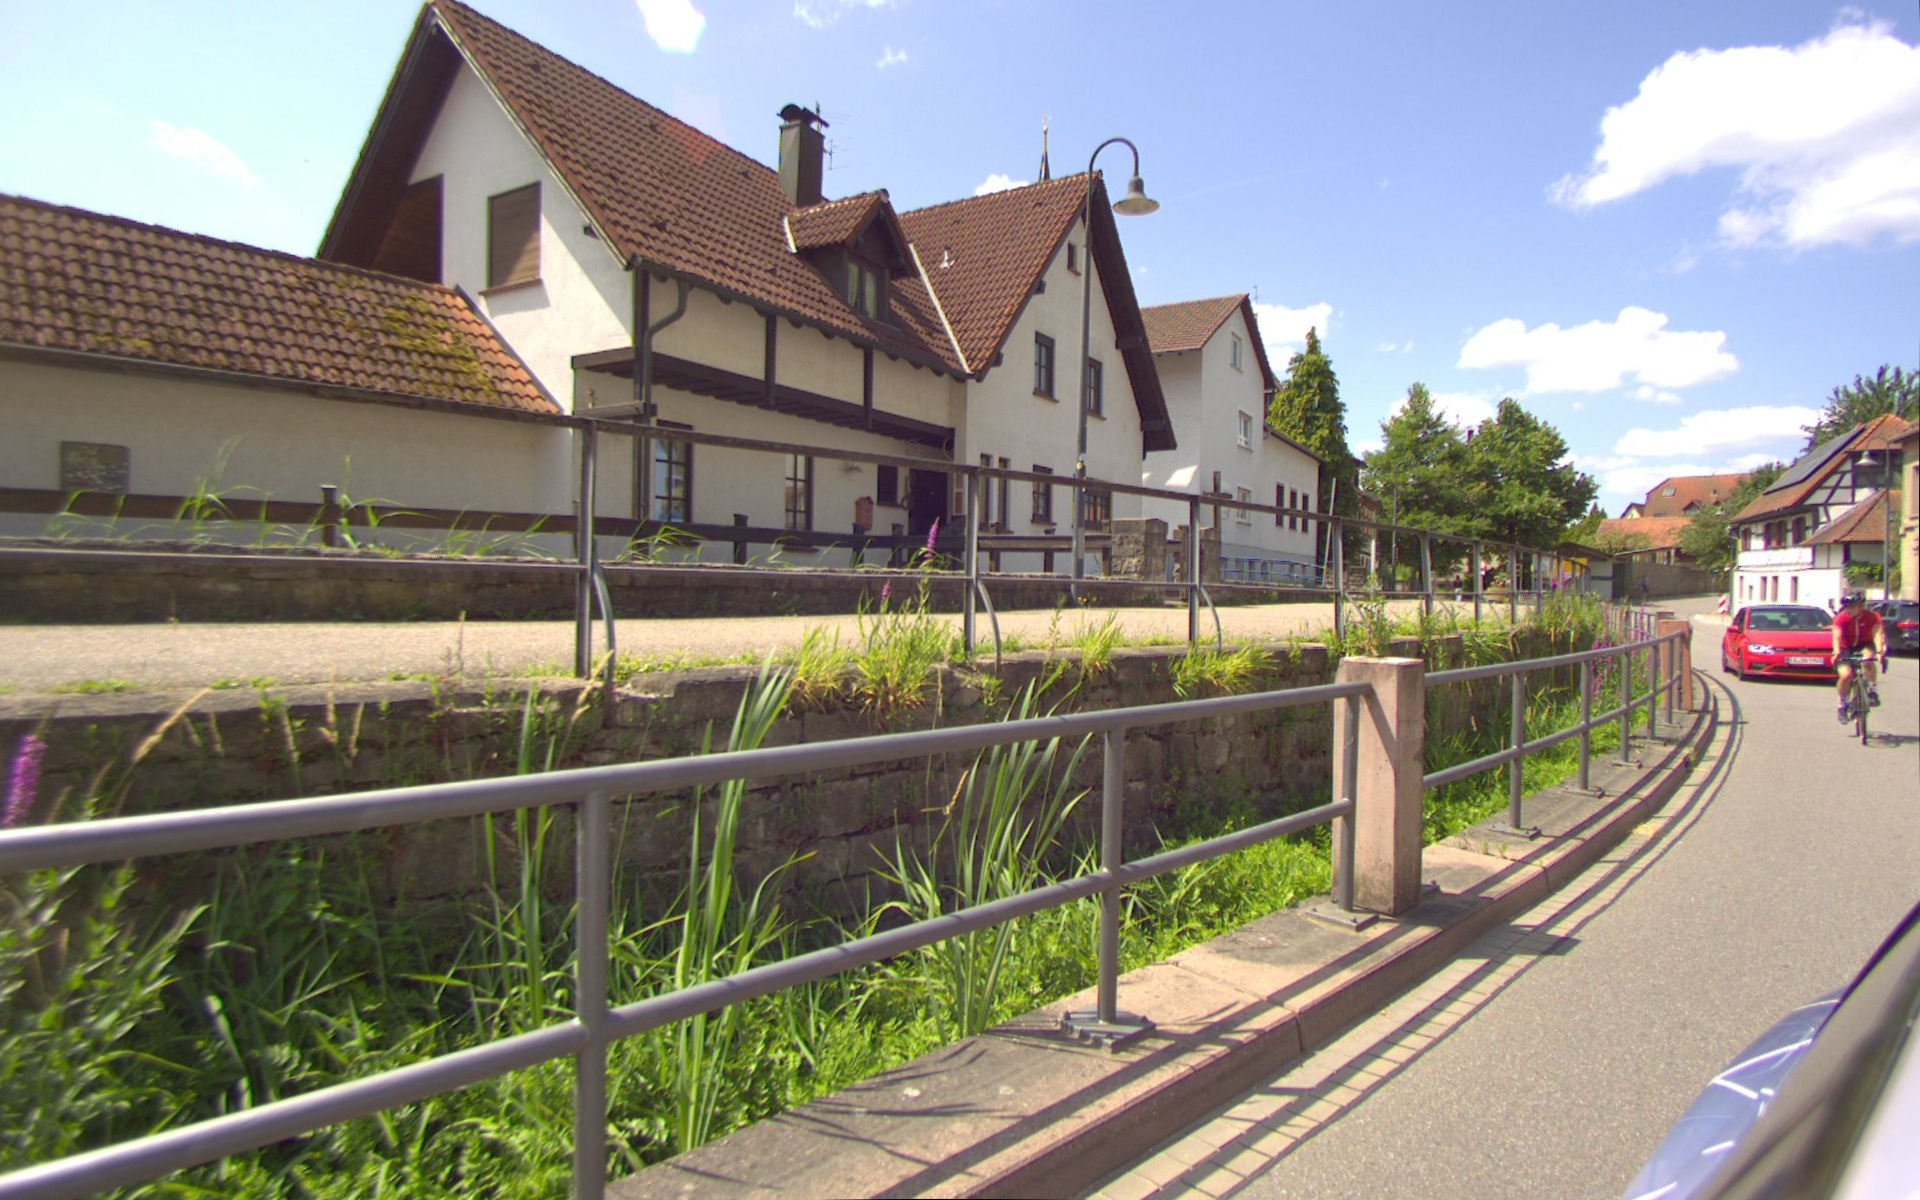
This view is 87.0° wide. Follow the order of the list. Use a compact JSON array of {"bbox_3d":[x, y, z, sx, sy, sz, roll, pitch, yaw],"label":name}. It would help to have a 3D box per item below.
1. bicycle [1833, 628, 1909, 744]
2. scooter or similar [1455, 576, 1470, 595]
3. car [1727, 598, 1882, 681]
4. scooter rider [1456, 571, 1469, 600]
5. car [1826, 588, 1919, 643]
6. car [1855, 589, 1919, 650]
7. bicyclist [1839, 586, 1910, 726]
[{"bbox_3d":[9.618,0.852,10.665,0.529,1.090,2.021,-1,-1,44],"label":"bicycle"},{"bbox_3d":[30.721,-0.894,61.842,0.638,1.156,1.792,2,2,30],"label":"scooter or similar"},{"bbox_3d":[15.744,0.662,19.038,1.657,1.369,3.457,0,1,30],"label":"car"},{"bbox_3d":[30.683,-0.880,61.806,0.638,1.753,0.548,0,0,31],"label":"scooter rider"},{"bbox_3d":[27.982,0.417,30.495,1.945,1.484,4.500,0,2,29],"label":"car"},{"bbox_3d":[25.149,0.447,26.346,1.876,1.483,4.616,-3,-1,31],"label":"car"},{"bbox_3d":[9.758,0.575,10.799,0.531,1.422,0.743,-1,-1,44],"label":"bicyclist"}]
